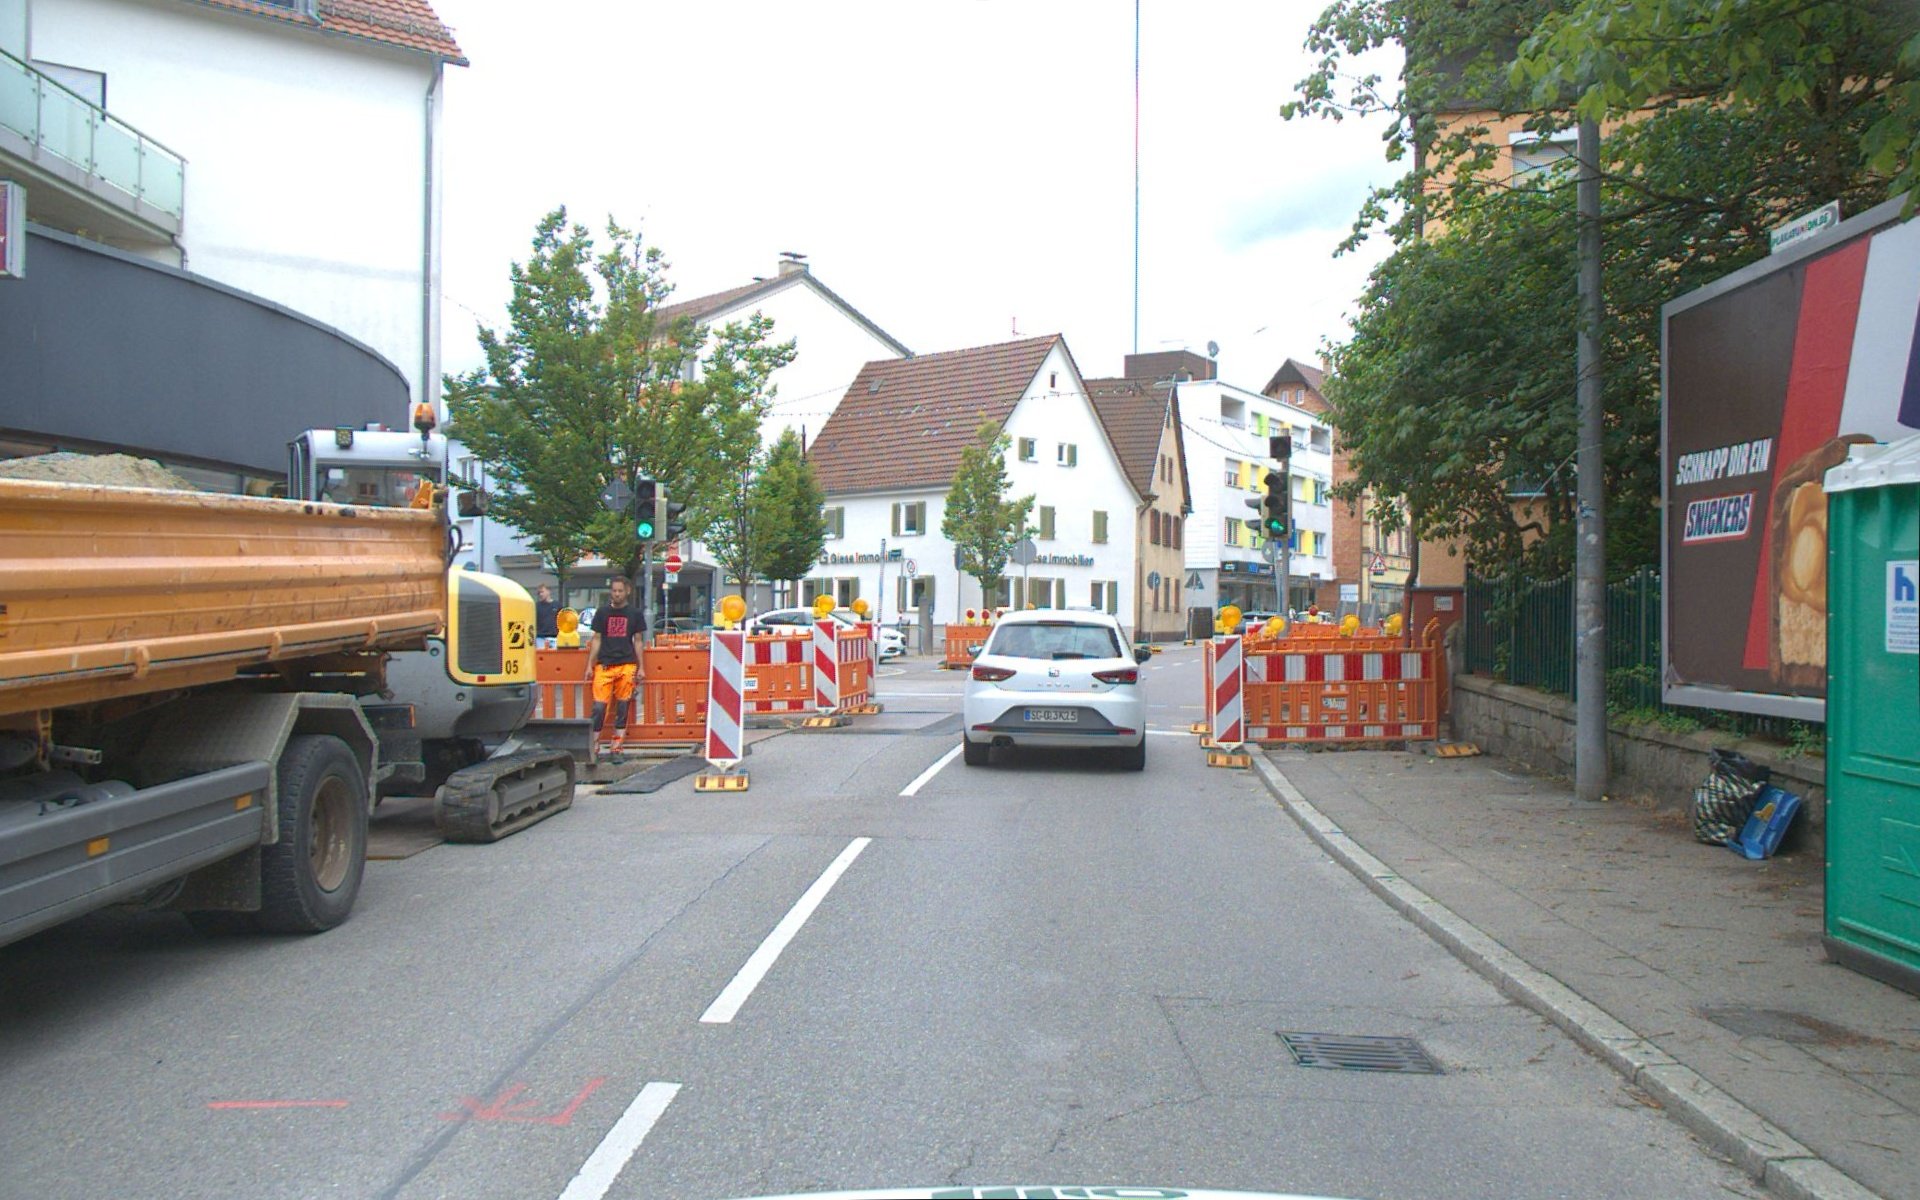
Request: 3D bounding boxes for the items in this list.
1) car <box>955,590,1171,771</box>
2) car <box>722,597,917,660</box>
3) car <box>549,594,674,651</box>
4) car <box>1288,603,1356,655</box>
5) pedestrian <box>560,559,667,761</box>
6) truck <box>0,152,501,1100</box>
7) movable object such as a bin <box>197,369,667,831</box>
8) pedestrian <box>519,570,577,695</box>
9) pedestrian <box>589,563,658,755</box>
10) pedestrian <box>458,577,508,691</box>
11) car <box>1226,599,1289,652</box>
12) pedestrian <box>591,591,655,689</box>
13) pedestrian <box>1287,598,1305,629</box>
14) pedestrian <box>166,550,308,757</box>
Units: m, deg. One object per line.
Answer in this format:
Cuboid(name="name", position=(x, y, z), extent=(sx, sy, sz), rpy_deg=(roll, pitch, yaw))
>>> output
Cuboid(name="car", position=(0.905, 0.701, 16.565), extent=(1.775, 1.506, 3.869), rpy_deg=(2, 1, -2))
Cuboid(name="car", position=(-3.675, 0.736, 43.973), extent=(4.799, 1.502, 2.251), rpy_deg=(1, 0, 5))
Cuboid(name="car", position=(-10.684, 0.671, 50.509), extent=(1.998, 1.584, 4.859), rpy_deg=(1, 0, -35))
Cuboid(name="car", position=(14.714, 1.152, 67.084), extent=(1.953, 2.049, 3.998), rpy_deg=(0, 0, 24))
Cuboid(name="pedestrian", position=(-3.261, 0.552, 15.615), extent=(0.797, 1.847, 0.744), rpy_deg=(0, 0, 5))
Cuboid(name="truck", position=(-4.099, 0.059, 6.129), extent=(2.674, 2.772, 6.850), rpy_deg=(0, 1, 2))
Cuboid(name="movable object such as a bin", position=(-3.627, 0.030, 12.356), extent=(1.800, 2.812, 4.507), rpy_deg=(0, -1, 4))
Cuboid(name="pedestrian", position=(-6.591, 0.507, 26.440), extent=(0.802, 1.959, 0.780), rpy_deg=(1, 0, -20))
Cuboid(name="pedestrian", position=(-3.167, 0.547, 15.595), extent=(0.526, 1.774, 0.444), rpy_deg=(0, 0, 6))
Cuboid(name="pedestrian", position=(-7.744, 0.541, 26.835), extent=(0.682, 1.822, 0.713), rpy_deg=(1, 0, -24))
Cuboid(name="car", position=(9.211, 0.757, 51.007), extent=(1.773, 1.506, 3.874), rpy_deg=(0, 1, 12))
Cuboid(name="pedestrian", position=(-5.704, 0.662, 28.001), extent=(0.668, 1.620, 0.878), rpy_deg=(0, 0, 27))
Cuboid(name="pedestrian", position=(18.444, 0.737, 90.836), extent=(0.873, 1.694, 0.862), rpy_deg=(0, 0, 16))
Cuboid(name="pedestrian", position=(-6.262, 0.446, 14.359), extent=(0.814, 1.742, 0.816), rpy_deg=(0, 0, 8))
